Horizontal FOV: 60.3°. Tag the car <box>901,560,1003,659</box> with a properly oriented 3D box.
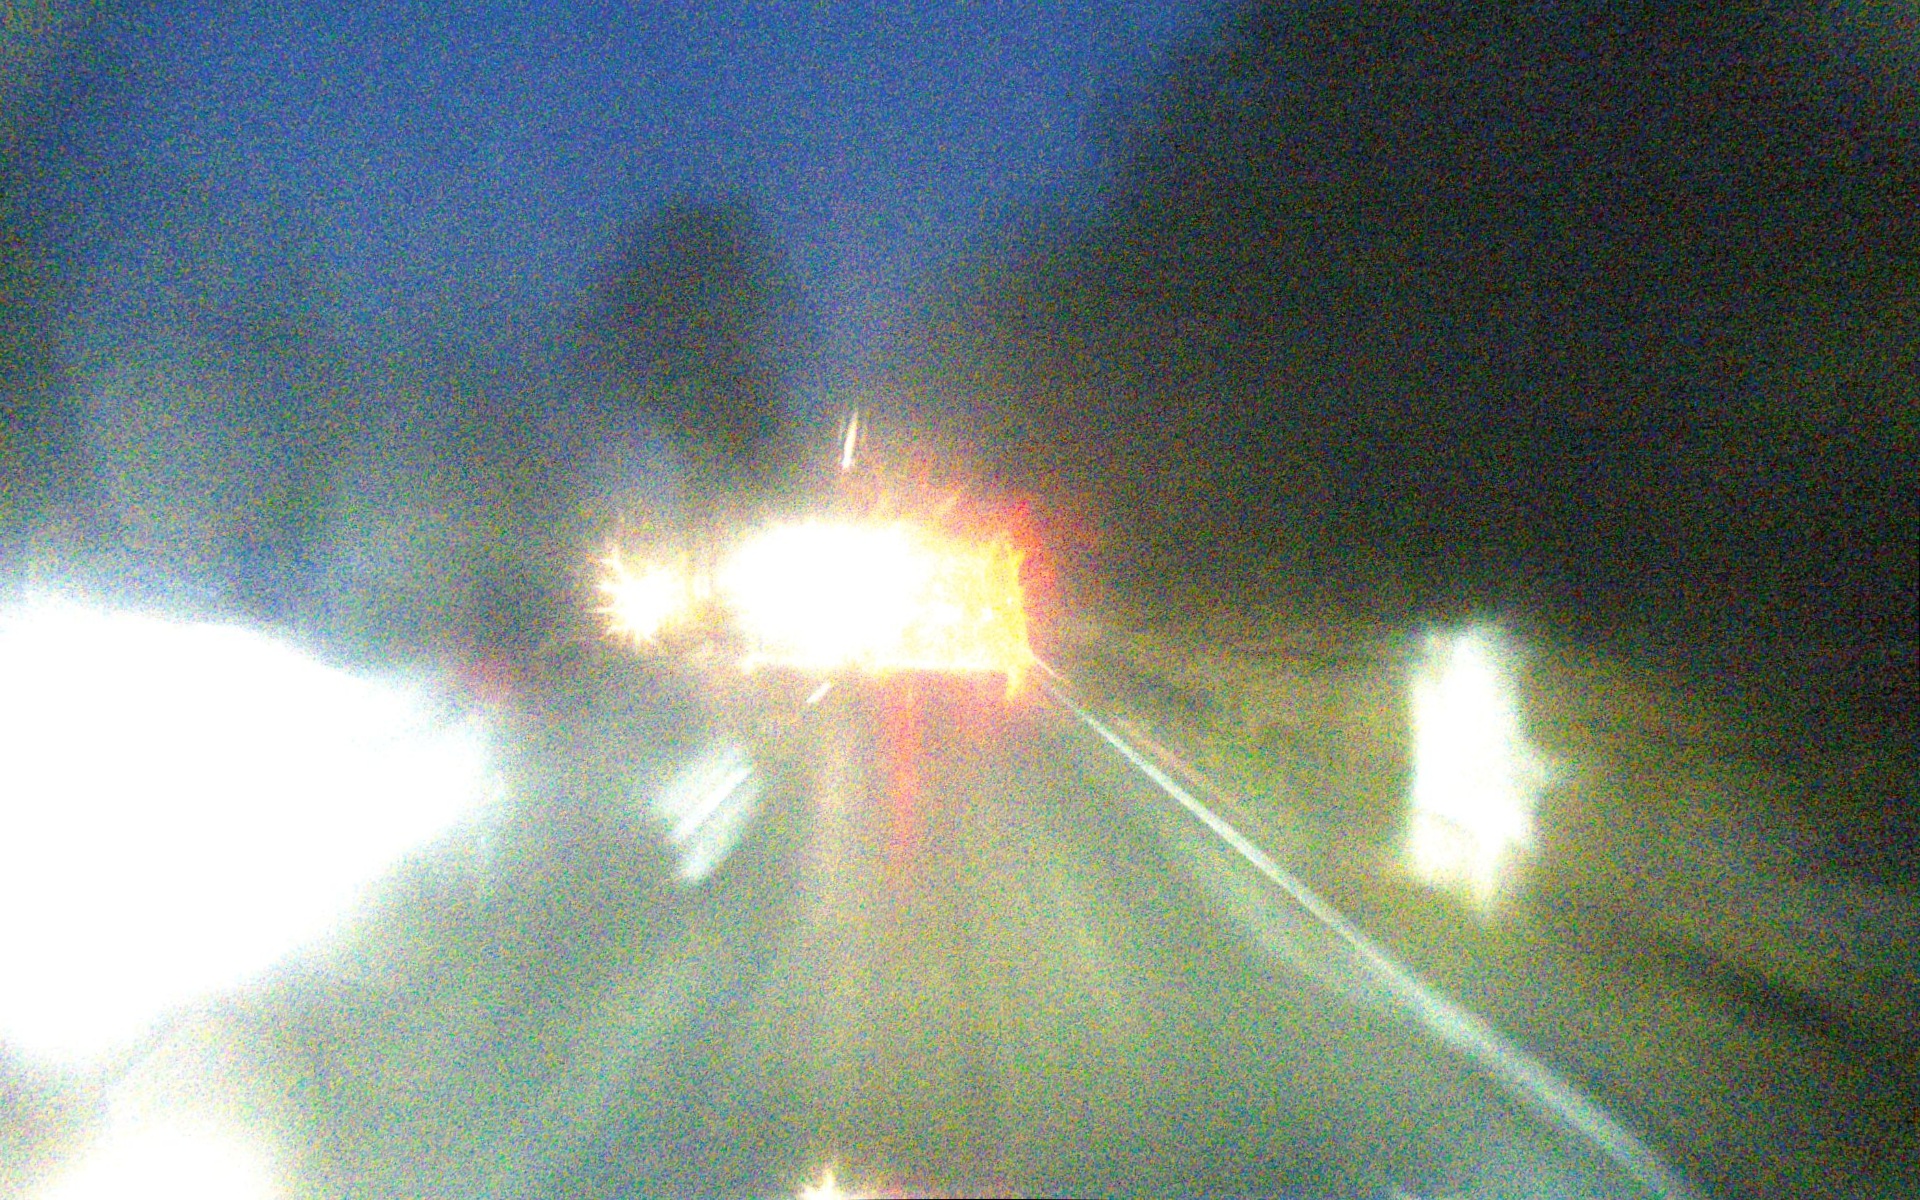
[{"bbox_3d":[-0.162,0.129,33.723,1.953,1.838,3.918,0,2,-1],"label":"car"}]

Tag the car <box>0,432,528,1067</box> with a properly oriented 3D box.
[{"bbox_3d":[-3.195,0.398,6.708,1.953,1.813,3.998,-1,1,-2],"label":"car"}]
